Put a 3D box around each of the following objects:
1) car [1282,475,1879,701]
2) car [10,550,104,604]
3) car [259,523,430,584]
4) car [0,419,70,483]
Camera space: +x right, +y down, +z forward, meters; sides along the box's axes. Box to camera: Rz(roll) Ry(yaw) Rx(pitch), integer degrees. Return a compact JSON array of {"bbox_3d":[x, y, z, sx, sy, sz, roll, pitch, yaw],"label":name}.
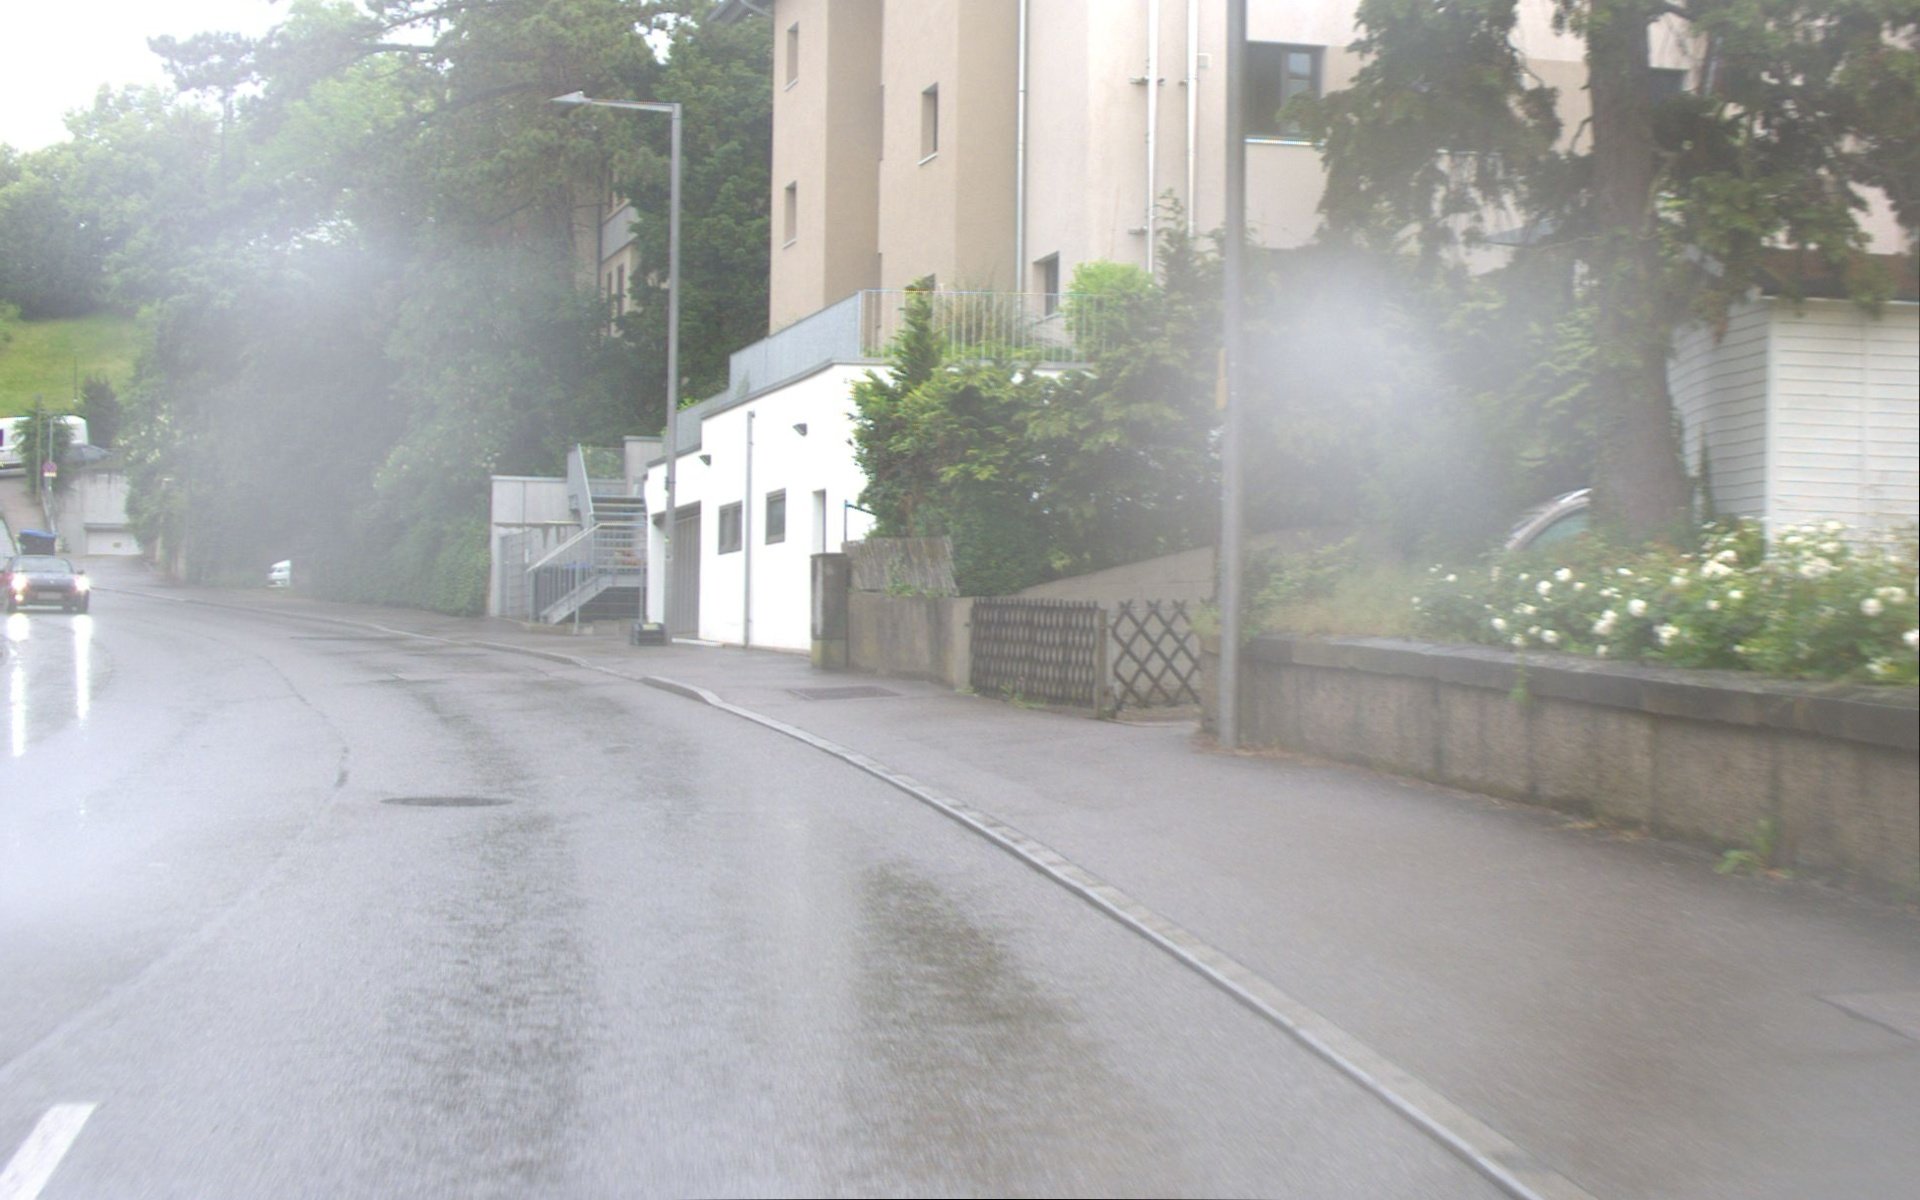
[{"bbox_3d":[4.796,-0.112,27.044,4.317,1.647,1.963,-1,1,0],"label":"car"},{"bbox_3d":[-19.921,-0.524,75.962,1.678,1.142,4.001,0,1,-10],"label":"car"},{"bbox_3d":[-16.341,-1.244,91.215,4.142,1.471,1.905,-2,2,-21],"label":"car"},{"bbox_3d":[-39.231,-6.088,140.984,4.942,2.560,1.905,-2,2,-25],"label":"car"}]
